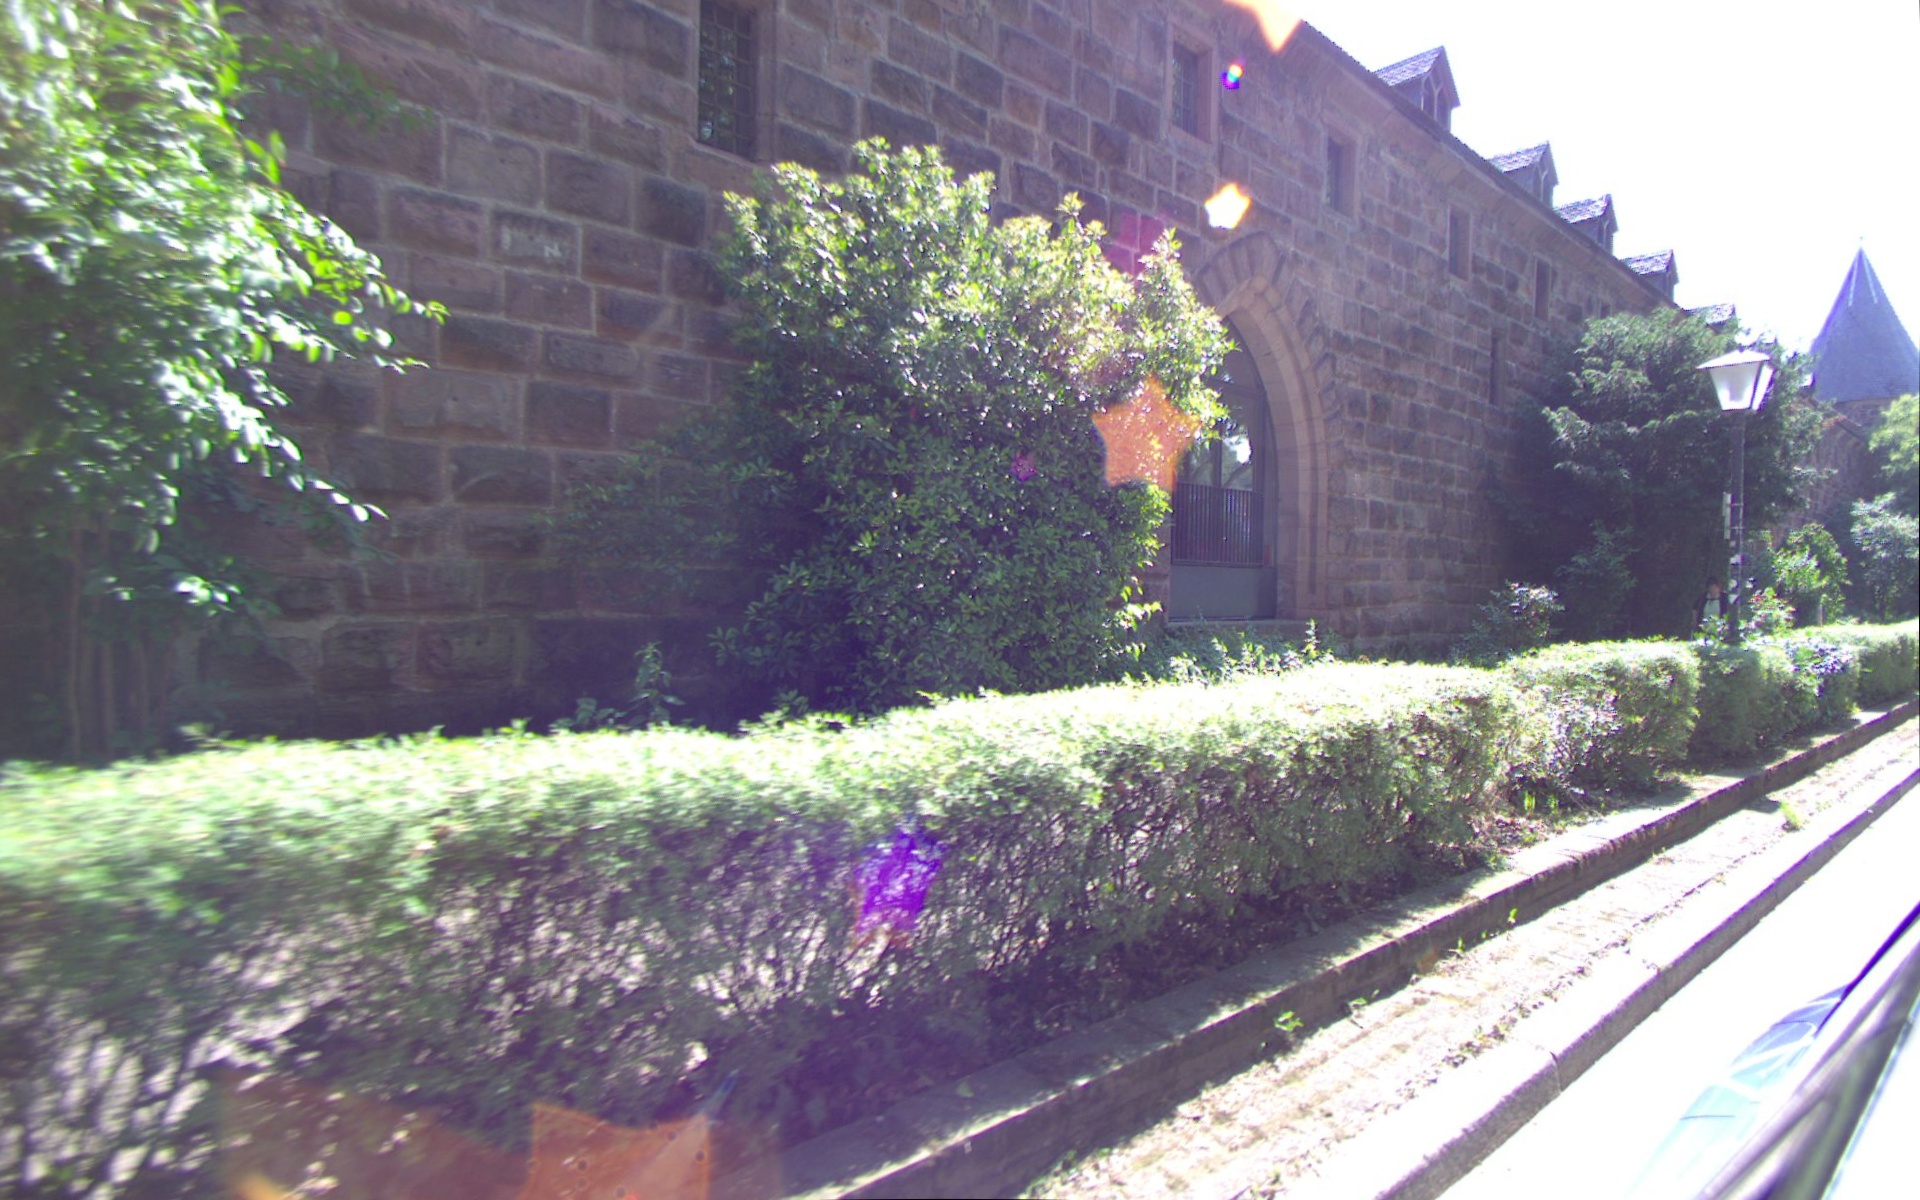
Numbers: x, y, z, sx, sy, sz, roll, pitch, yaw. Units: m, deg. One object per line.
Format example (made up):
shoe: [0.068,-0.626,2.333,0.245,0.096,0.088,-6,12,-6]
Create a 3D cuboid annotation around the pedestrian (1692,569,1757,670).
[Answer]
pedestrian: [13.116,0.325,17.366,0.692,1.673,0.700,0,2,-38]
